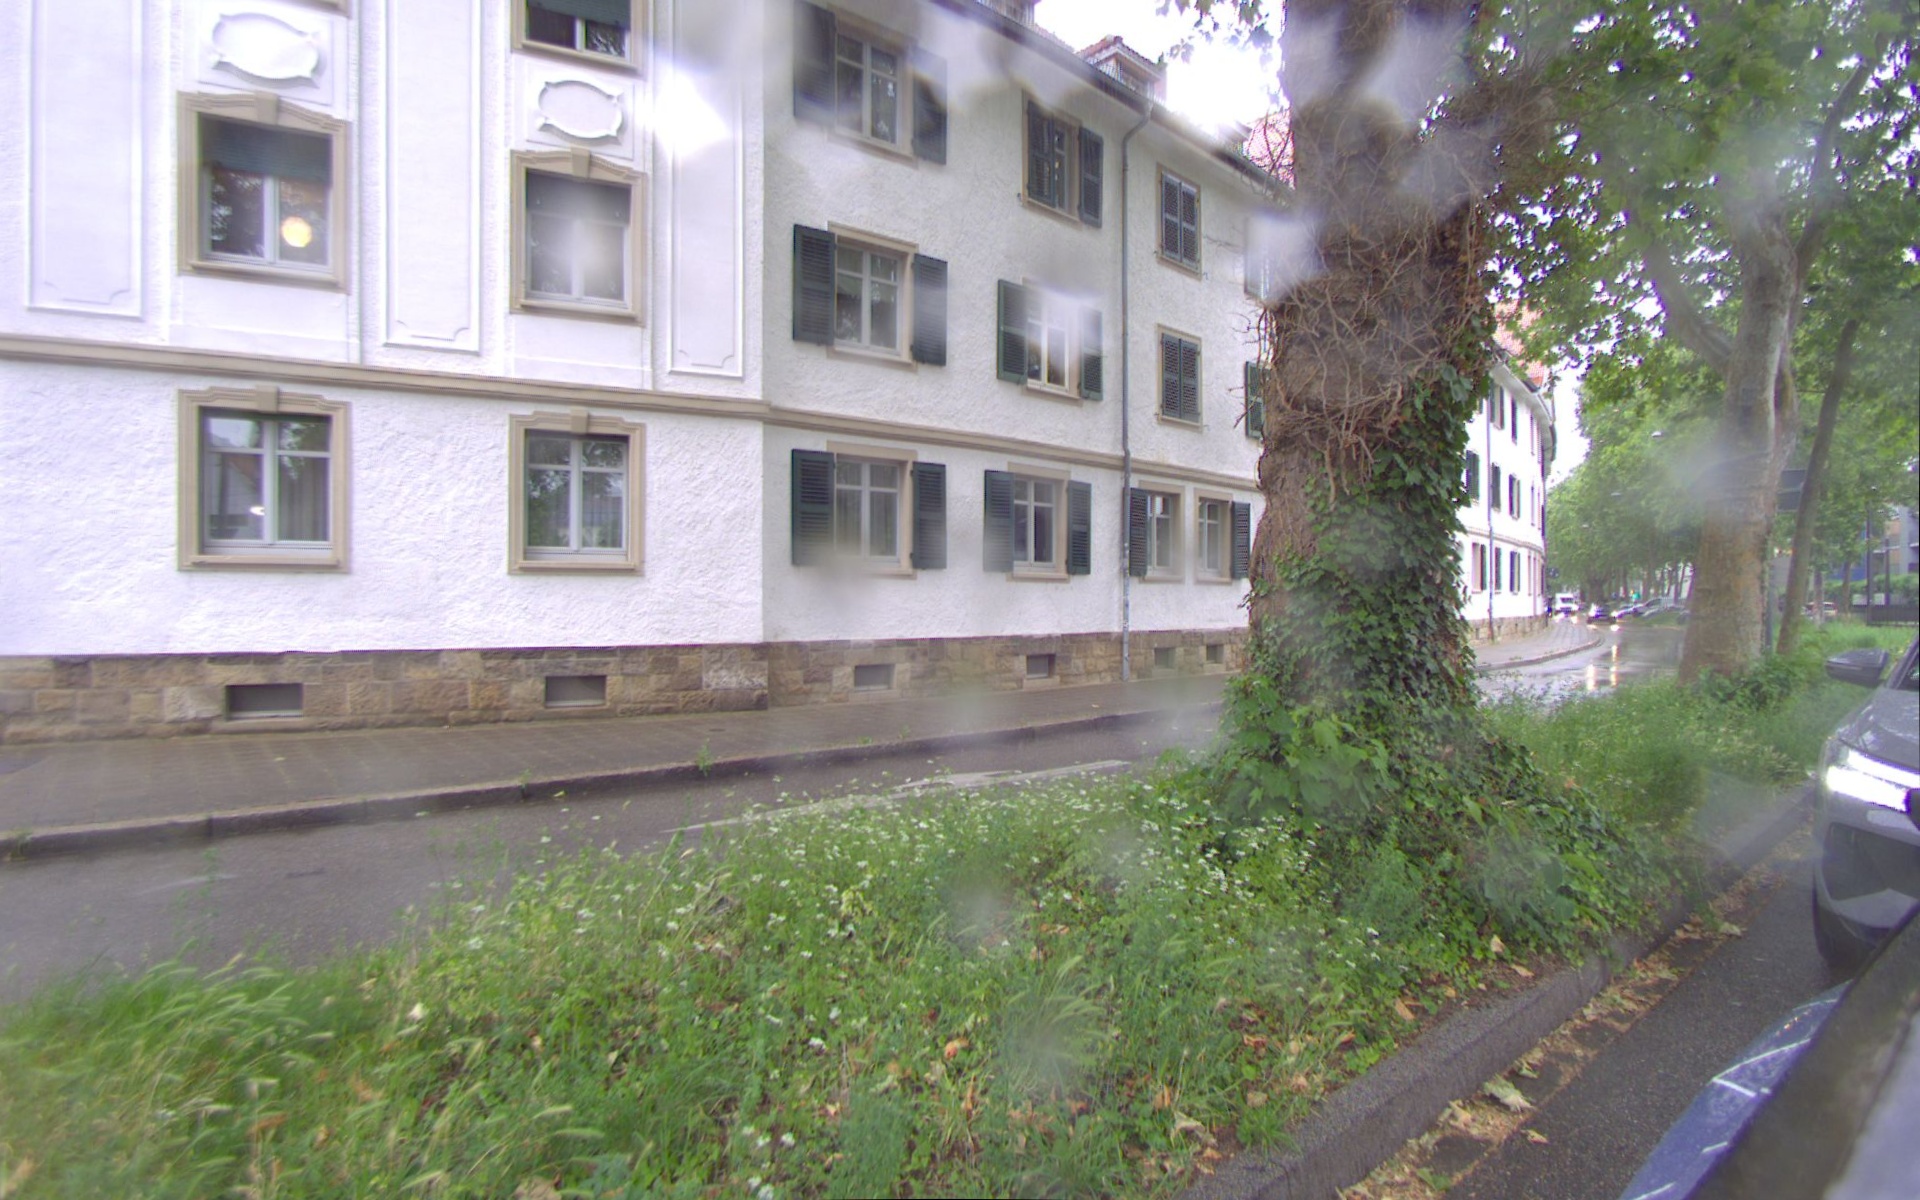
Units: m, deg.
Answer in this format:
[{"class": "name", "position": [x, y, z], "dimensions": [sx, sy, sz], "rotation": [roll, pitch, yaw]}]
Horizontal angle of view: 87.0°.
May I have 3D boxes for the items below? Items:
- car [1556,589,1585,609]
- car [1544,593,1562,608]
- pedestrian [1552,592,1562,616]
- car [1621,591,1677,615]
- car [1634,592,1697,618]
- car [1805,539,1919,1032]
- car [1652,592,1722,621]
[{"class": "car", "position": [70.238, -0.142, 116.463], "dimensions": [2.173, 2.292, 5.367], "rotation": [0, 0, 24]}, {"class": "car", "position": [86.947, 0.116, 148.506], "dimensions": [1.981, 2.040, 3.961], "rotation": [-3, -2, 28]}, {"class": "pedestrian", "position": [47.442, 0.318, 80.403], "dimensions": [0.668, 1.845, 0.672], "rotation": [0, 0, 31]}, {"class": "car", "position": [60.770, 0.255, 89.293], "dimensions": [3.969, 2.039, 1.977], "rotation": [0, -1, 32]}, {"class": "car", "position": [55.907, 0.392, 80.309], "dimensions": [3.969, 2.039, 1.977], "rotation": [0, -1, 32]}, {"class": "car", "position": [5.145, 0.616, 4.322], "dimensions": [4.039, 1.662, 1.913], "rotation": [0, 0, -44]}, {"class": "car", "position": [52.641, 0.475, 73.403], "dimensions": [3.969, 2.039, 1.977], "rotation": [0, -1, 32]}]
